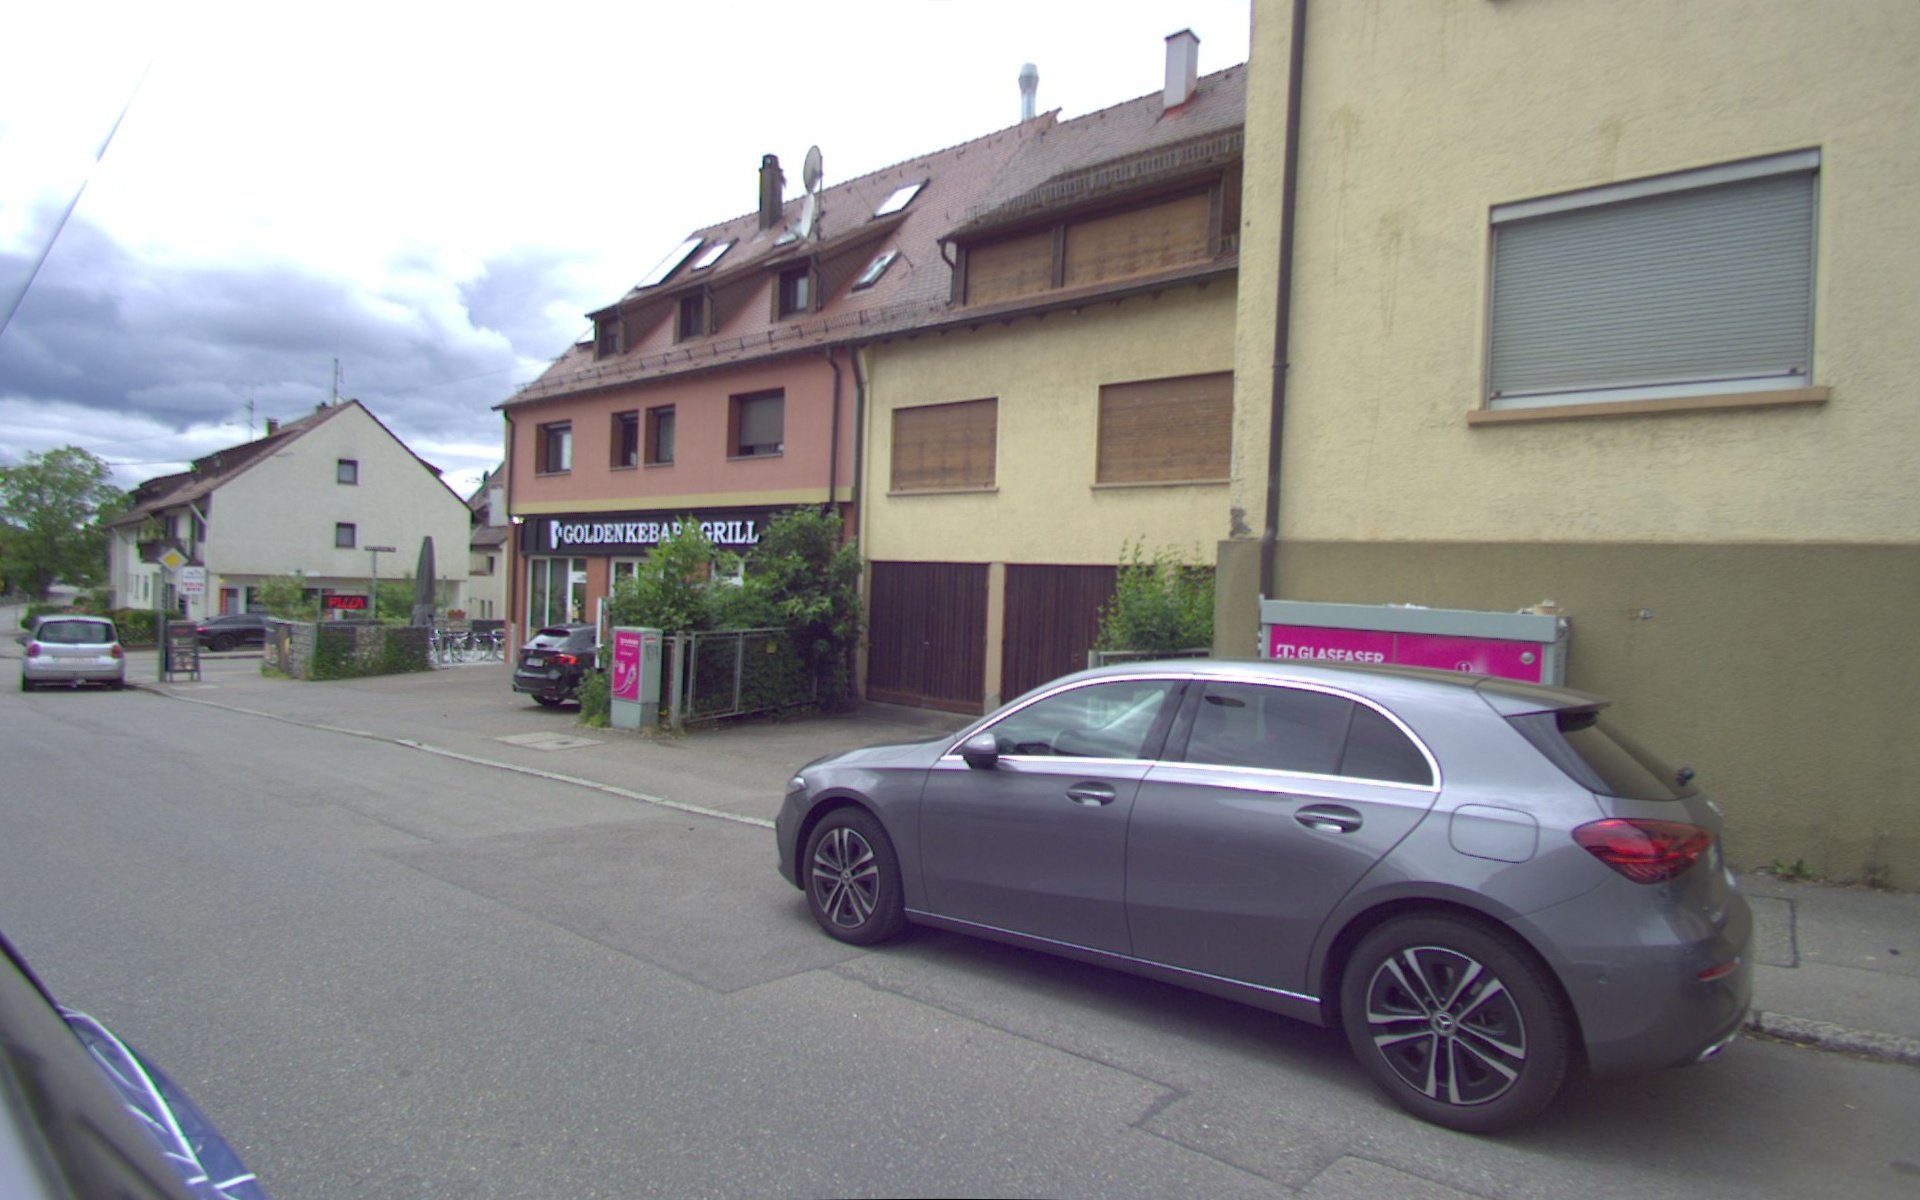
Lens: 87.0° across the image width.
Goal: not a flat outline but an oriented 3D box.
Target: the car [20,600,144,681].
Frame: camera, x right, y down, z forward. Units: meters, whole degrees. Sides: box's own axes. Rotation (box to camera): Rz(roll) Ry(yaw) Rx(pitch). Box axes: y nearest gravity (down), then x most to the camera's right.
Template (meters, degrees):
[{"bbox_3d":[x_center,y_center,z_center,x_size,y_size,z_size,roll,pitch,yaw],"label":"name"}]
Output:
[{"bbox_3d":[-19.321,0.881,22.221,1.812,1.590,4.035,6,-5,-43],"label":"car"}]

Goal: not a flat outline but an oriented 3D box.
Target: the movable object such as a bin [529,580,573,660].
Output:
[{"bbox_3d":[-13.106,0.633,32.472,1.262,2.476,1.643,1,-1,-21],"label":"movable object such as a bin"}]

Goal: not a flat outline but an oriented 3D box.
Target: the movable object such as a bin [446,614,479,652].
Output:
[{"bbox_3d":[-14.736,0.968,29.978,0.977,1.117,0.564,-1,-1,44],"label":"movable object such as a bin"}]

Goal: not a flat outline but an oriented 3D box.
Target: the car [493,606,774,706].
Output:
[{"bbox_3d":[-5.534,0.924,17.556,1.999,1.483,4.186,1,-2,41],"label":"car"}]

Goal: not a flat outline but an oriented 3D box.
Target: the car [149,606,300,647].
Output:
[{"bbox_3d":[-28.319,0.982,39.067,2.001,1.483,4.466,-1,0,45],"label":"car"}]

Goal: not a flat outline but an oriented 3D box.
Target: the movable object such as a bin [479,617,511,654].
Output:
[{"bbox_3d":[-14.219,1.085,30.945,0.977,1.118,0.564,-1,-2,44],"label":"movable object such as a bin"}]

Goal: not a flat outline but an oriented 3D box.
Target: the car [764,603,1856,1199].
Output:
[{"bbox_3d":[1.239,0.839,4.638,4.241,1.483,1.973,-1,-4,41],"label":"car"}]
